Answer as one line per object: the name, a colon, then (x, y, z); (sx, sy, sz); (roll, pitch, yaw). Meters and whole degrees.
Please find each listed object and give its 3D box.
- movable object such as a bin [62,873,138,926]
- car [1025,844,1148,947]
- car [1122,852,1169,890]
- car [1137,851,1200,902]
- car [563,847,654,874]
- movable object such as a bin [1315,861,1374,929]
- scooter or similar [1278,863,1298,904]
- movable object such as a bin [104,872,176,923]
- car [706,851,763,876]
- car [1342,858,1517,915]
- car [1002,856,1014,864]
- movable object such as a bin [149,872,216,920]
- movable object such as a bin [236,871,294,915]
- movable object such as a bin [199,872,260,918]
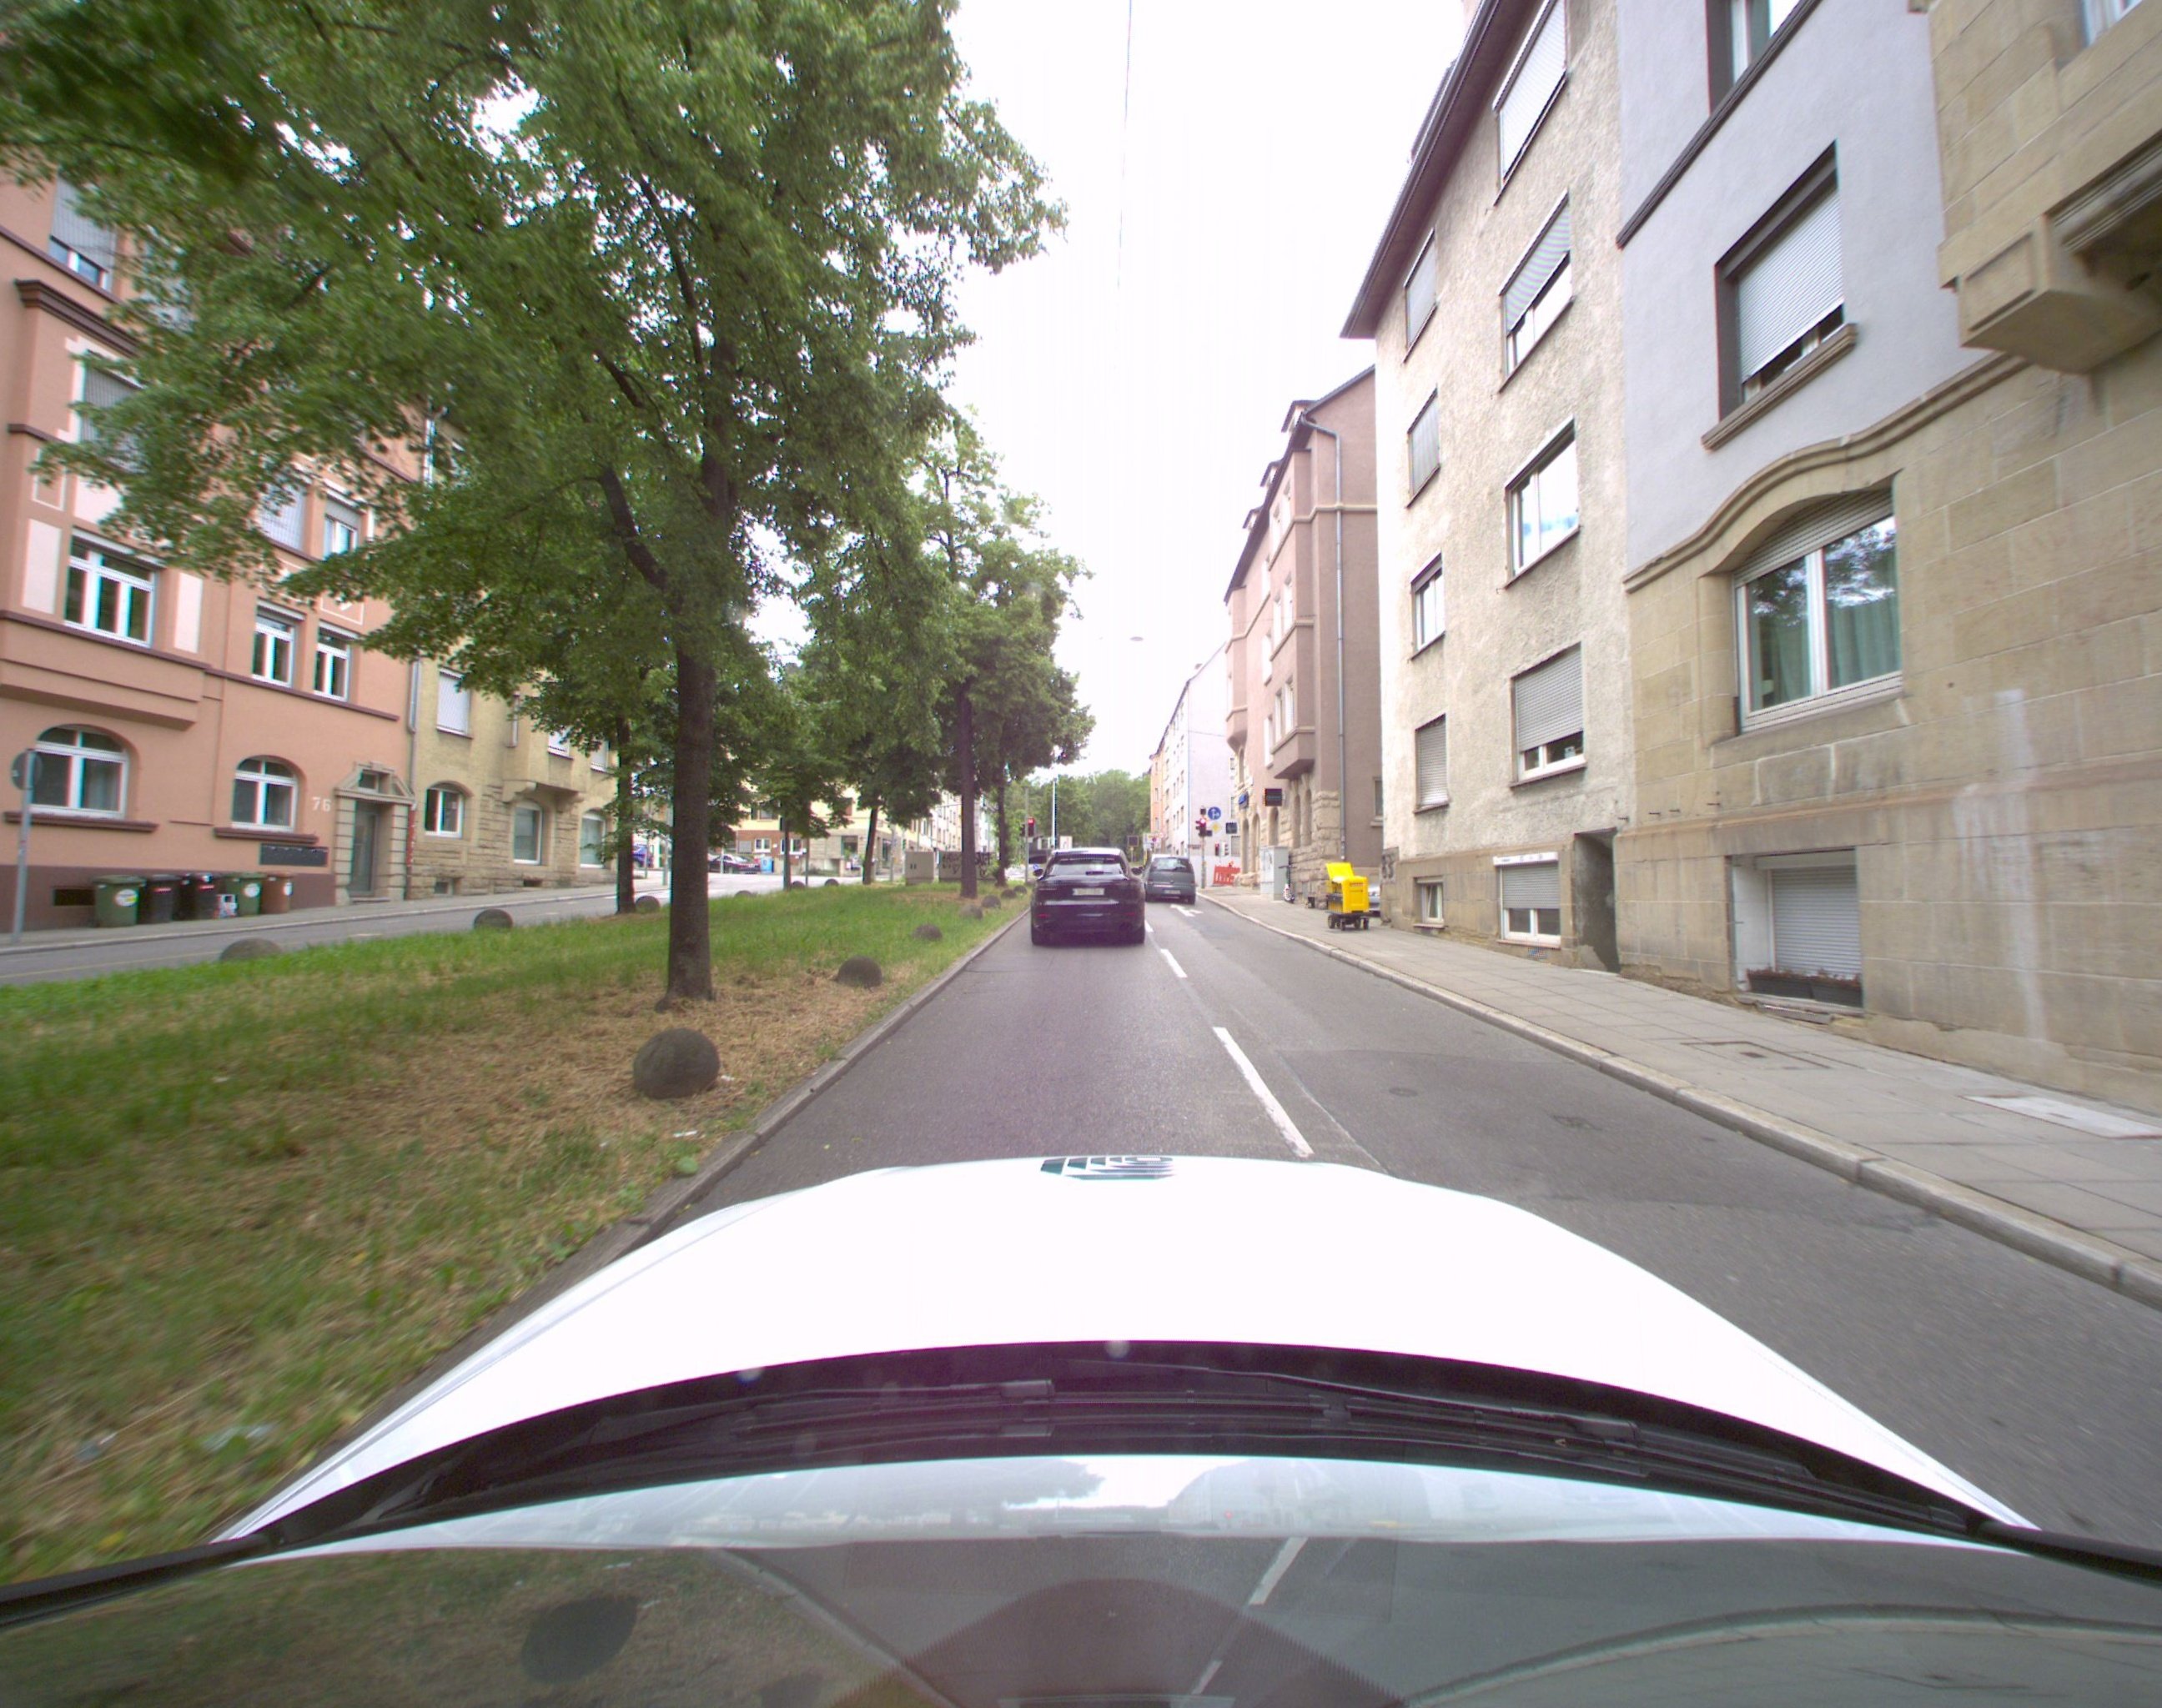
movable object such as a bin: (-17.585, 0.804, 14.612); (0.607, 0.904, 0.601); (1, 0, -3)
car: (0.155, 0.666, 15.281); (1.987, 1.653, 4.002); (-1, 0, 2)
car: (2.966, 0.759, 38.046); (1.987, 1.653, 4.001); (-1, -1, 2)
car: (2.928, 0.724, 28.019); (1.746, 1.593, 3.630); (2, 0, 0)
car: (-27.457, 0.376, 47.464); (4.215, 1.510, 1.790); (1, 0, -17)
movable object such as a bin: (5.818, 0.882, 18.090); (0.717, 1.421, 1.692); (-1, -1, -1)
scooter or similar: (6.494, 0.909, 25.587); (0.399, 1.188, 1.356); (-1, 1, 5)
movable object such as a bin: (-17.597, 0.809, 15.247); (0.607, 0.904, 0.601); (1, 0, -3)
car: (-24.735, 0.714, 58.107); (3.948, 1.665, 1.894); (-1, -2, 34)
car: (9.366, 0.857, 22.125); (3.973, 1.403, 1.801); (0, 2, 1)
car: (-13.070, 1.031, 145.656); (1.788, 1.510, 3.999); (0, 0, 0)
movable object such as a bin: (-17.560, 0.820, 15.935); (0.607, 0.904, 0.601); (1, 0, -3)
movable object such as a bin: (-17.541, 0.834, 17.525); (0.607, 0.904, 0.601); (1, 0, -3)
movable object such as a bin: (-17.527, 0.830, 16.773); (0.607, 0.904, 0.601); (1, 0, -3)
